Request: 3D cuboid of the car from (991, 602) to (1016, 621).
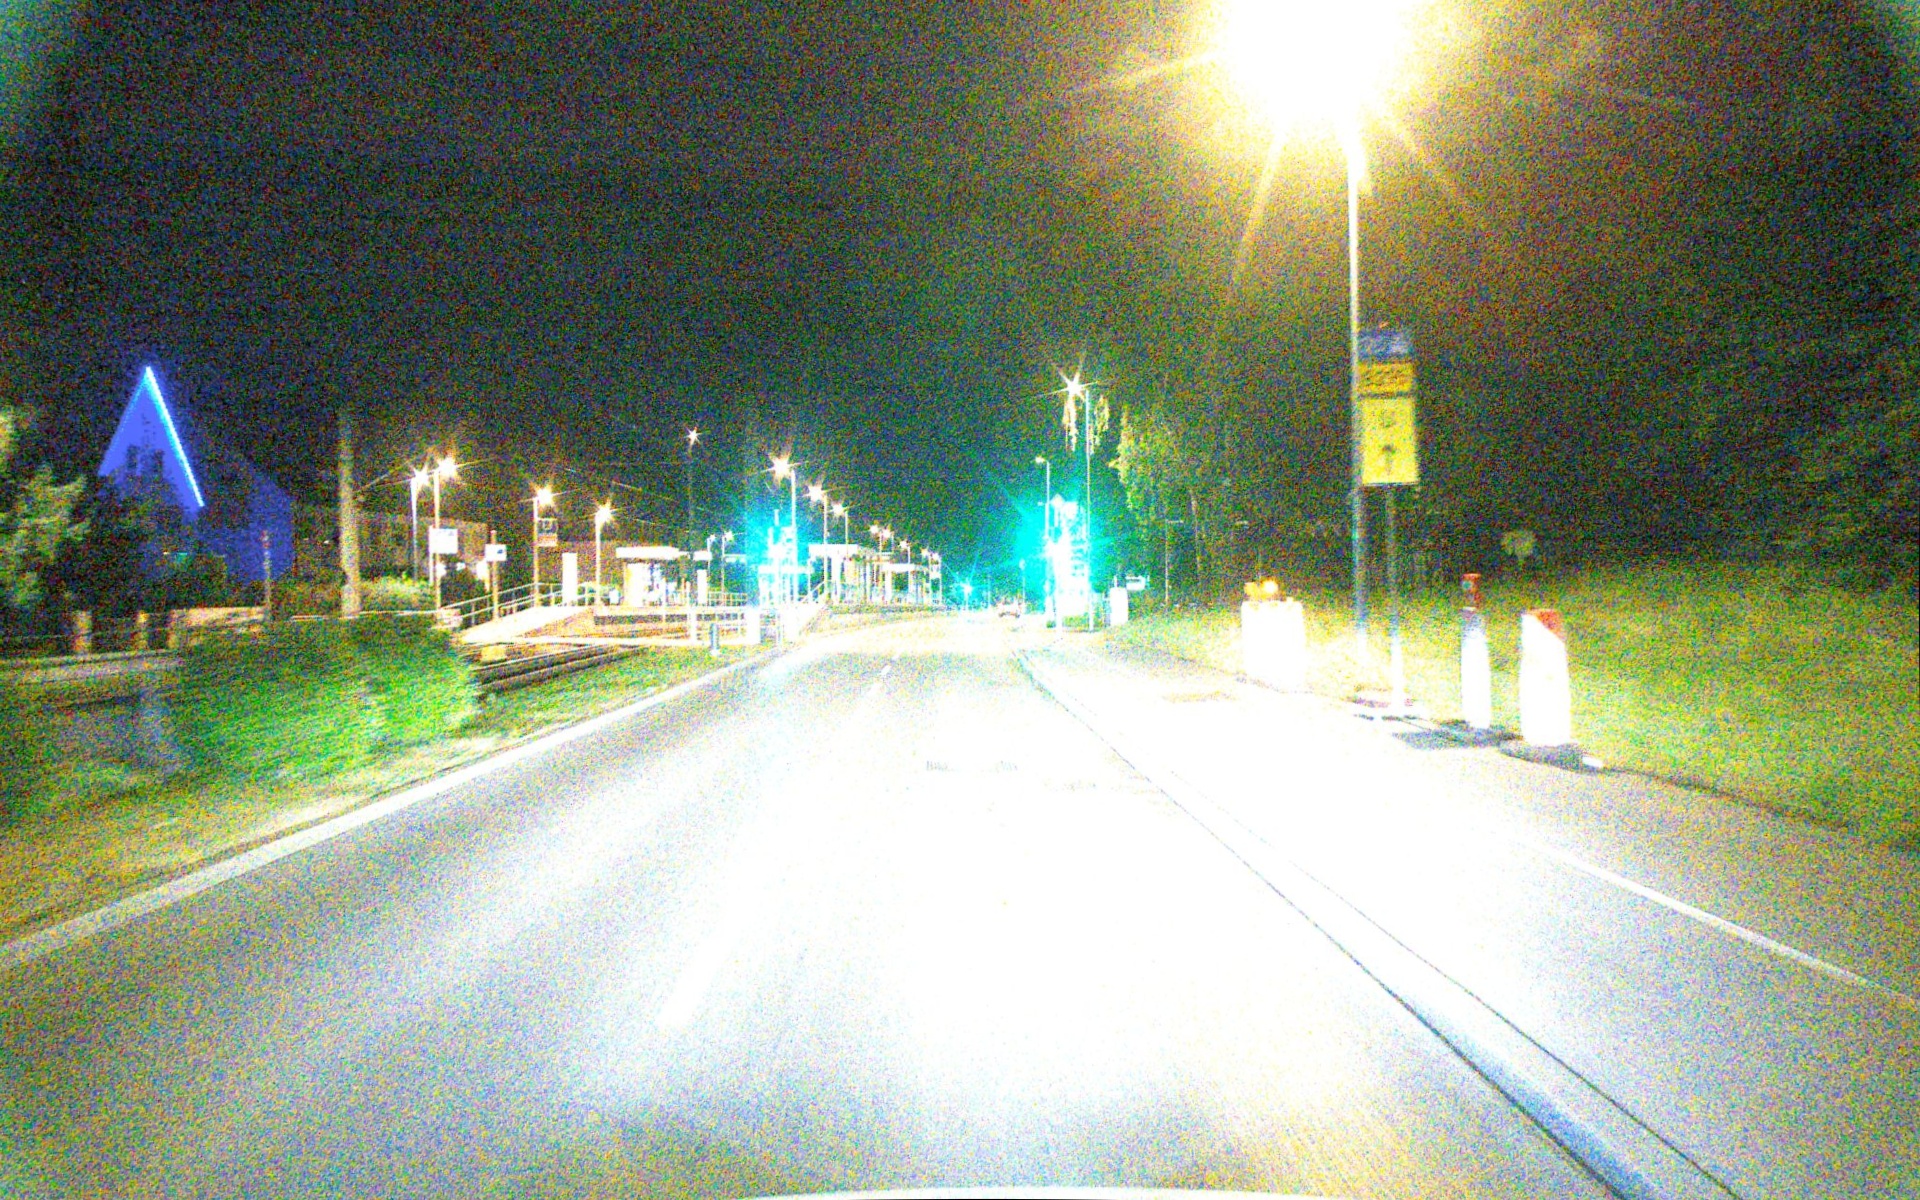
[{"bbox_3d":[4.076,1.063,153.218,2.116,1.610,4.015,1,0,4],"label":"car"}]
